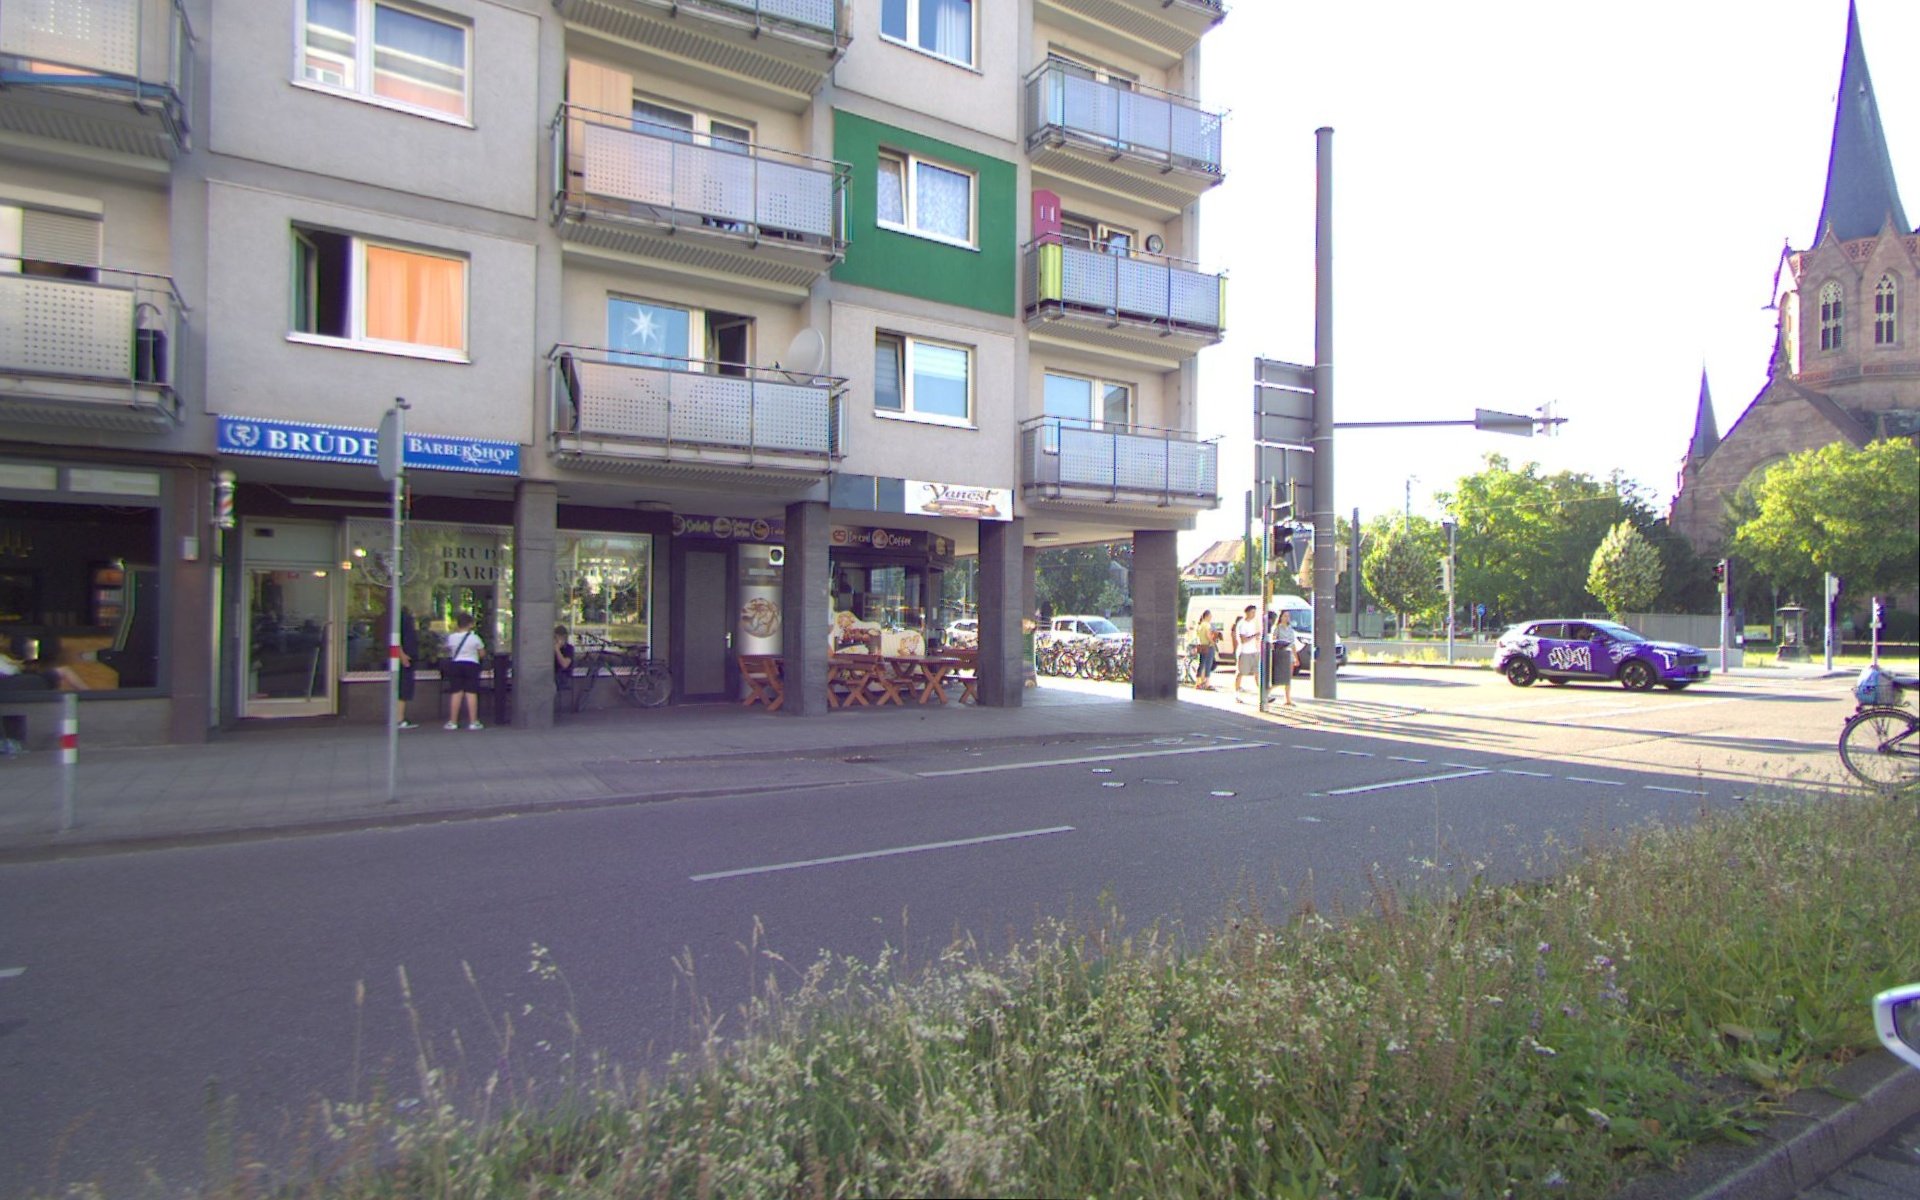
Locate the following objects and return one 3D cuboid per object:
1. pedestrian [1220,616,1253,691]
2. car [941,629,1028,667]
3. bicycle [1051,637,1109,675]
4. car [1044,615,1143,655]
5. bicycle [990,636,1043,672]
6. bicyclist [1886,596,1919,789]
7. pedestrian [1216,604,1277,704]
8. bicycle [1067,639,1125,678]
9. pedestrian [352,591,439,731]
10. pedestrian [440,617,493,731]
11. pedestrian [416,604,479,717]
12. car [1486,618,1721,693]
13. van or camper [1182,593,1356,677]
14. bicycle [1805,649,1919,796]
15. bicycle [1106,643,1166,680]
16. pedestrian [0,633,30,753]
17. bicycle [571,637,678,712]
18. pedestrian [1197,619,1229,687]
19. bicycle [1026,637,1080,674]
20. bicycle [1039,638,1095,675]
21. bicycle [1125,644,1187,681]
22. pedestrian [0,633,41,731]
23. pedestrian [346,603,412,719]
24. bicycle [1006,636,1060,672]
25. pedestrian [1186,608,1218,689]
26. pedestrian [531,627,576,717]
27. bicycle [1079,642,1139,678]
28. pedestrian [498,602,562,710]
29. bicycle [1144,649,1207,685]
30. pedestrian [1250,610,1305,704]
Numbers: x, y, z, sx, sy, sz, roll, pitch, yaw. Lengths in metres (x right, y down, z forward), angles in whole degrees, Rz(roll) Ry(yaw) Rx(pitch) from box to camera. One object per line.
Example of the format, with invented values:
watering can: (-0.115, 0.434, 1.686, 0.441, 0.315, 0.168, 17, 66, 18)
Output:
pedestrian: (6.184, 1.187, 22.485, 0.566, 1.663, 0.468, 1, -1, -11)
car: (1.079, 2.161, 46.361, 1.938, 1.640, 4.461, 1, -1, -31)
bicycle: (3.413, 1.575, 28.493, 1.685, 1.044, 0.493, 1, -1, -32)
car: (5.905, 1.533, 44.883, 2.096, 1.694, 4.433, 1, -1, -30)
bicycle: (1.757, 1.665, 31.172, 0.491, 1.049, 1.928, 0, -1, 44)
bicyclist: (8.830, 0.810, 8.851, 0.891, 1.682, 0.778, 1, -1, -32)
pedestrian: (5.299, 0.982, 18.602, 0.664, 1.781, 0.921, 1, -1, -22)
bicycle: (3.774, 1.603, 27.818, 1.685, 1.052, 0.493, 1, -1, -32)
pedestrian: (-7.174, 0.763, 12.782, 0.764, 1.723, 0.561, 0, -1, 13)
pedestrian: (-6.205, 0.916, 12.641, 0.472, 1.402, 0.484, 0, -1, -11)
pedestrian: (-7.505, 0.871, 14.705, 0.778, 1.599, 0.558, 1, -1, -31)
car: (15.135, 1.240, 23.890, 1.814, 1.594, 4.383, 1, -1, -29)
van or camper: (9.787, 1.078, 32.301, 2.139, 2.448, 5.397, 1, -1, -30)
bicycle: (8.405, 1.042, 8.486, 0.726, 1.204, 1.818, 1, -1, -31)
bicycle: (4.620, 1.595, 26.322, 1.685, 0.919, 0.493, 1, -1, -32)
pedestrian: (-10.052, 0.950, 10.342, 0.513, 1.219, 0.552, 0, -1, 27)
bicycle: (-5.172, 1.130, 15.517, 1.441, 1.095, 0.584, 2, -2, -34)
pedestrian: (5.891, 1.228, 23.410, 0.570, 1.551, 0.465, 1, -1, -32)
bicycle: (2.768, 1.629, 29.745, 0.491, 1.049, 1.928, 0, -1, 44)
bicycle: (3.094, 1.617, 29.043, 1.685, 1.049, 0.493, 1, -1, -32)
bicycle: (5.047, 1.599, 25.856, 1.685, 0.919, 0.493, 1, -1, -32)
pedestrian: (-10.898, 0.925, 11.452, 0.544, 1.094, 0.521, 0, -1, 36)
pedestrian: (-8.224, 0.848, 14.221, 0.778, 1.599, 0.558, 1, -1, -31)
bicycle: (2.232, 1.627, 30.575, 0.491, 1.049, 1.928, 0, -1, 44)
pedestrian: (5.470, 1.087, 22.730, 0.464, 1.792, 0.550, 1, -1, -29)
pedestrian: (-5.807, 1.014, 14.360, 0.522, 1.256, 0.556, 1, -1, -16)
bicycle: (4.047, 1.620, 27.239, 1.685, 0.919, 0.493, 1, -1, -32)
pedestrian: (-6.586, 0.845, 15.387, 0.780, 1.599, 0.557, 1, -1, -37)
bicycle: (5.418, 1.666, 25.168, 1.685, 0.851, 0.493, 1, -1, -32)
pedestrian: (5.987, 1.056, 18.947, 0.664, 1.731, 0.752, 1, -1, -22)
